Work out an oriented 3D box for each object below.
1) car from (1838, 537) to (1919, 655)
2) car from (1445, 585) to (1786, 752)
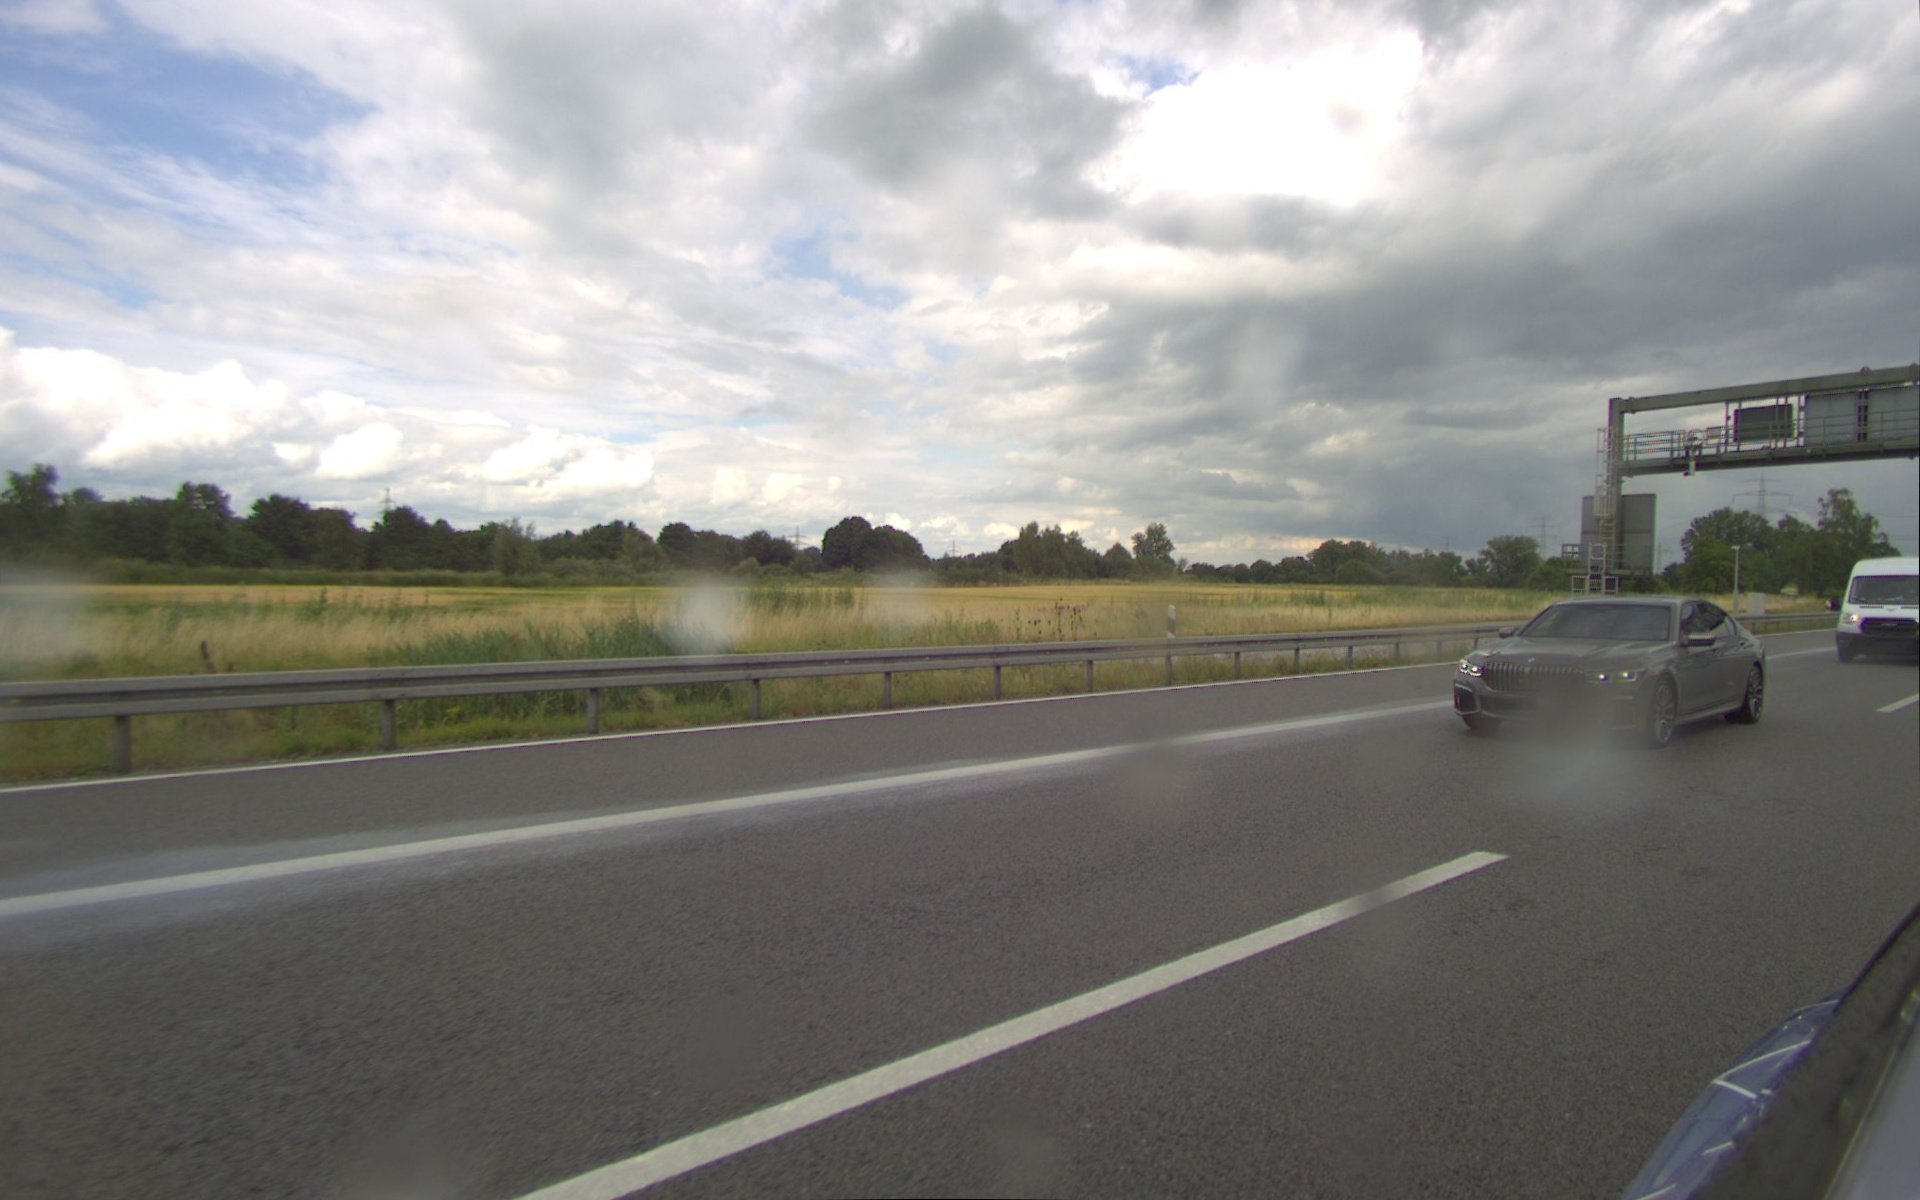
[{"bbox_3d":[22.351,-0.109,23.469,5.350,2.532,2.144,0,1,-39],"label":"car"},{"bbox_3d":[7.529,0.587,11.429,4.691,1.510,1.944,-1,1,-40],"label":"car"}]
